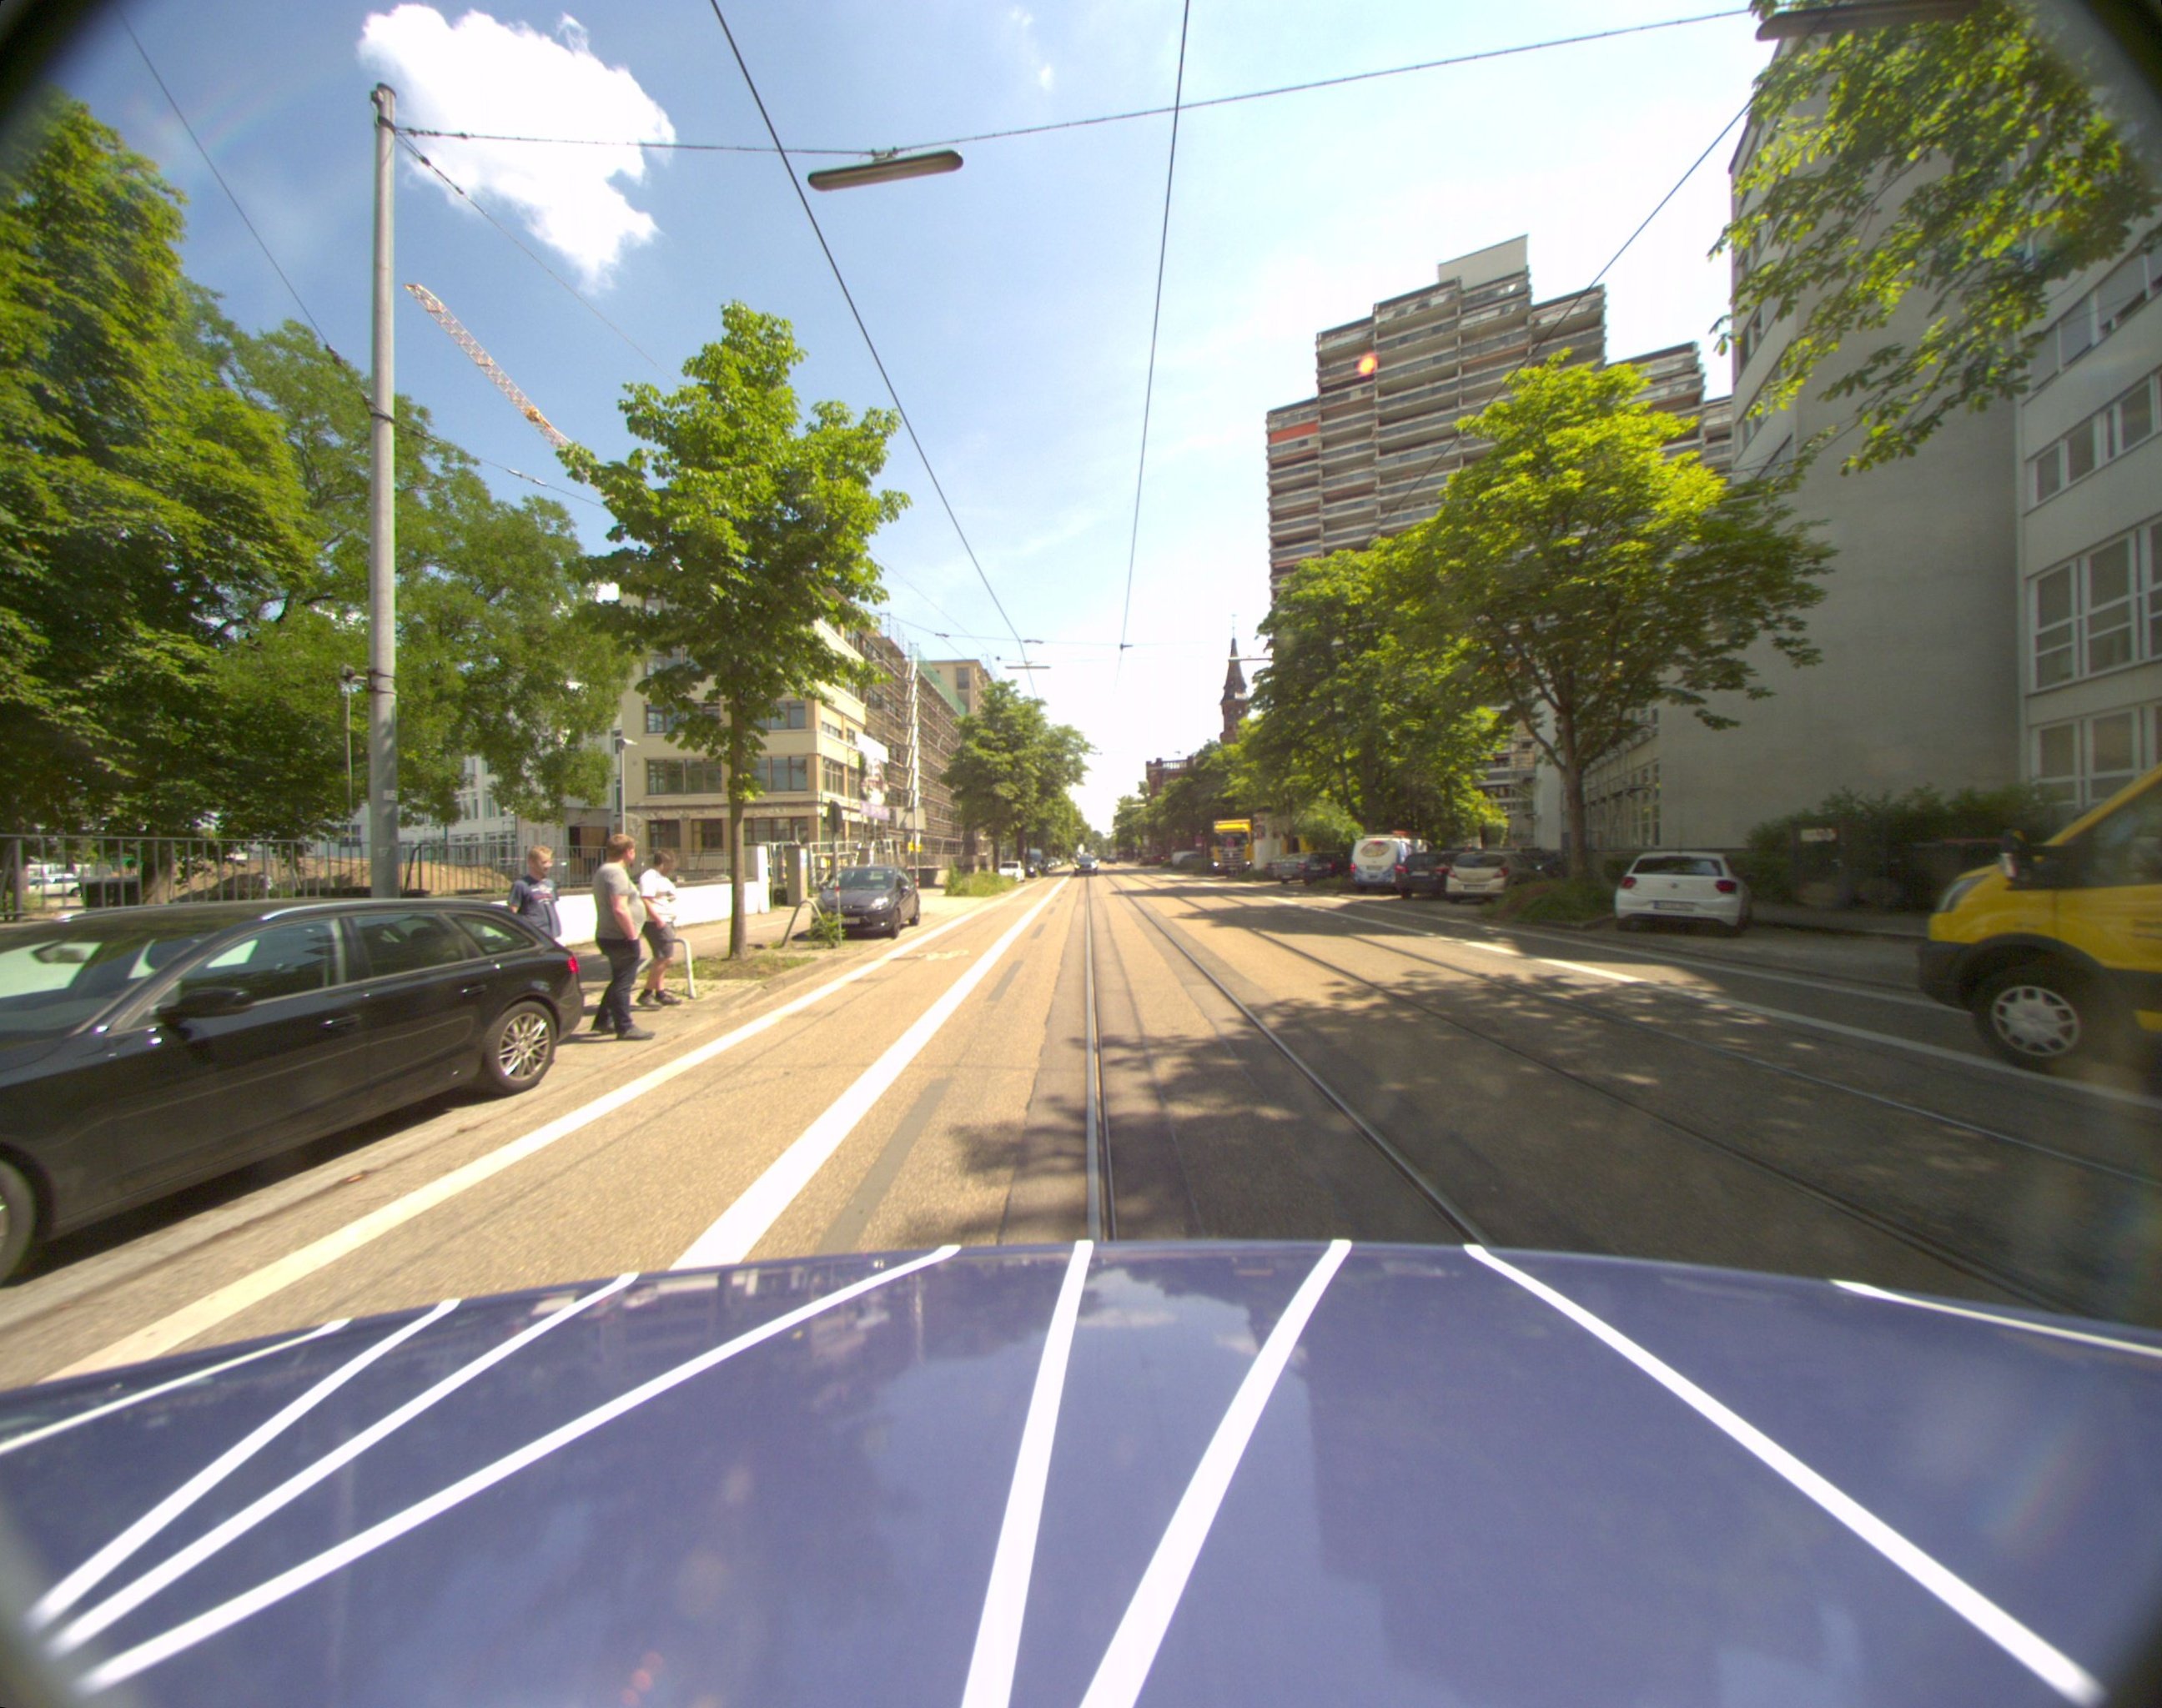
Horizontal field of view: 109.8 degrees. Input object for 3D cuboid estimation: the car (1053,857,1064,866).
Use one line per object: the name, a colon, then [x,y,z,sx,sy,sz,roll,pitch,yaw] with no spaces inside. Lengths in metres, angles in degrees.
car: [-3.645,1.238,124.778,1.676,1.490,4.365,-1,0,-3]

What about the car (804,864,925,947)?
car: [-4.531,1.017,16.452,1.643,1.477,3.871,-1,1,-3]

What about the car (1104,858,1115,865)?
car: [5.405,1.426,143.916,1.779,1.389,4.287,-2,0,-2]

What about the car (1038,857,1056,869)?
car: [-4.119,1.067,91.602,1.829,1.463,4.487,-1,0,2]

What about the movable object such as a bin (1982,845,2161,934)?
movable object such as a bin: [16.825,0.559,12.736,1.766,1.401,1.424,-1,0,0]

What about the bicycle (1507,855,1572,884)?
bicycle: [18.323,0.610,30.411,2.131,1.069,0.558,-3,0,26]

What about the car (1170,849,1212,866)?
car: [12.511,0.404,86.296,4.555,1.780,1.896,-3,0,-32]

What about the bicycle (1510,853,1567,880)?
bicycle: [19.490,0.535,32.416,2.013,1.069,0.558,-3,0,26]

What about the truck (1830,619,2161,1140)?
truck: [7.017,0.128,2.308,2.366,2.836,7.378,0,0,2]

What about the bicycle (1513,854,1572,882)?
bicycle: [18.947,0.569,31.227,2.013,1.069,0.558,-3,0,26]

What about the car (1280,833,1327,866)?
car: [19.065,-0.433,64.783,2.179,2.551,6.735,-2,1,30]

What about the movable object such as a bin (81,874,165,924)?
movable object such as a bin: [-30.523,1.406,24.252,1.392,1.455,1.404,-1,0,-41]

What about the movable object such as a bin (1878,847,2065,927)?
movable object such as a bin: [16.644,0.589,14.280,1.766,1.401,1.490,-1,0,0]

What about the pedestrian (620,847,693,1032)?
pedestrian: [-4.511,0.853,8.060,0.577,1.849,0.724,-1,1,-35]

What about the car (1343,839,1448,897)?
car: [11.406,0.448,27.341,1.916,1.923,4.767,1,1,43]

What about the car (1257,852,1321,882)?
car: [11.130,0.672,40.554,1.757,1.498,3.717,0,0,43]

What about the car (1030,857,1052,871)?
car: [-4.242,1.042,81.046,1.828,1.463,4.401,-1,0,3]

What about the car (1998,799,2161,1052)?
car: [10.389,0.553,7.116,1.842,1.944,4.741,0,0,45]

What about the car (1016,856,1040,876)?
car: [-4.327,0.947,62.385,1.648,1.525,3.947,-1,0,0]

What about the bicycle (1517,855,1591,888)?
bicycle: [16.857,0.634,27.135,2.131,1.069,0.558,-3,0,26]

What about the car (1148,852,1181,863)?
car: [13.145,0.484,118.893,4.787,1.557,1.997,-2,0,-28]

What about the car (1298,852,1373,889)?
car: [11.439,0.696,34.072,3.717,1.535,1.687,0,0,-45]

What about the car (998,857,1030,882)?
car: [-4.428,0.994,50.410,1.648,1.525,3.786,-1,0,2]

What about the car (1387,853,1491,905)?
car: [11.357,0.726,23.986,1.812,1.498,3.717,1,1,45]

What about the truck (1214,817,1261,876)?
truck: [11.791,-0.600,56.480,2.719,3.819,10.974,-3,1,15]

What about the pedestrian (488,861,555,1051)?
pedestrian: [-5.387,0.934,7.334,0.479,1.727,0.619,-1,1,-35]

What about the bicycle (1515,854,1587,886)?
bicycle: [17.139,0.574,27.769,2.131,1.069,0.558,-3,0,26]

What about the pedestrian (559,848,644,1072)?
pedestrian: [-4.284,0.878,6.778,0.577,1.849,0.809,-1,1,-35]

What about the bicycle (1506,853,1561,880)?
bicycle: [19.805,0.540,33.288,2.013,1.069,0.558,-3,0,26]

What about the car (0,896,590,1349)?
car: [-4.880,1.088,3.766,1.881,1.446,4.527,-1,1,1]

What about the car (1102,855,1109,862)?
car: [6.726,1.267,207.698,1.835,1.671,4.184,-1,0,0]

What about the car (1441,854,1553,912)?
car: [11.680,0.744,21.256,3.717,1.459,1.757,0,1,-45]

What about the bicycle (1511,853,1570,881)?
bicycle: [19.209,0.554,31.791,2.013,1.069,0.558,-3,0,26]

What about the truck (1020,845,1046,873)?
truck: [-4.407,0.459,70.574,2.019,2.474,5.956,-1,0,0]

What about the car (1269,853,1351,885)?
car: [11.265,0.695,37.205,4.212,1.498,1.869,0,0,-41]

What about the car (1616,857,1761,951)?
car: [11.190,0.801,13.891,1.757,1.425,4.009,2,1,43]

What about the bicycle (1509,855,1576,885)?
bicycle: [18.042,0.616,29.750,2.131,1.069,0.558,-3,0,26]

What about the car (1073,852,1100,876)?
car: [0.425,0.765,60.120,1.998,1.731,4.227,-3,0,0]

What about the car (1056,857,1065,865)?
car: [-3.952,1.242,144.757,1.675,1.481,3.980,-1,0,-1]
